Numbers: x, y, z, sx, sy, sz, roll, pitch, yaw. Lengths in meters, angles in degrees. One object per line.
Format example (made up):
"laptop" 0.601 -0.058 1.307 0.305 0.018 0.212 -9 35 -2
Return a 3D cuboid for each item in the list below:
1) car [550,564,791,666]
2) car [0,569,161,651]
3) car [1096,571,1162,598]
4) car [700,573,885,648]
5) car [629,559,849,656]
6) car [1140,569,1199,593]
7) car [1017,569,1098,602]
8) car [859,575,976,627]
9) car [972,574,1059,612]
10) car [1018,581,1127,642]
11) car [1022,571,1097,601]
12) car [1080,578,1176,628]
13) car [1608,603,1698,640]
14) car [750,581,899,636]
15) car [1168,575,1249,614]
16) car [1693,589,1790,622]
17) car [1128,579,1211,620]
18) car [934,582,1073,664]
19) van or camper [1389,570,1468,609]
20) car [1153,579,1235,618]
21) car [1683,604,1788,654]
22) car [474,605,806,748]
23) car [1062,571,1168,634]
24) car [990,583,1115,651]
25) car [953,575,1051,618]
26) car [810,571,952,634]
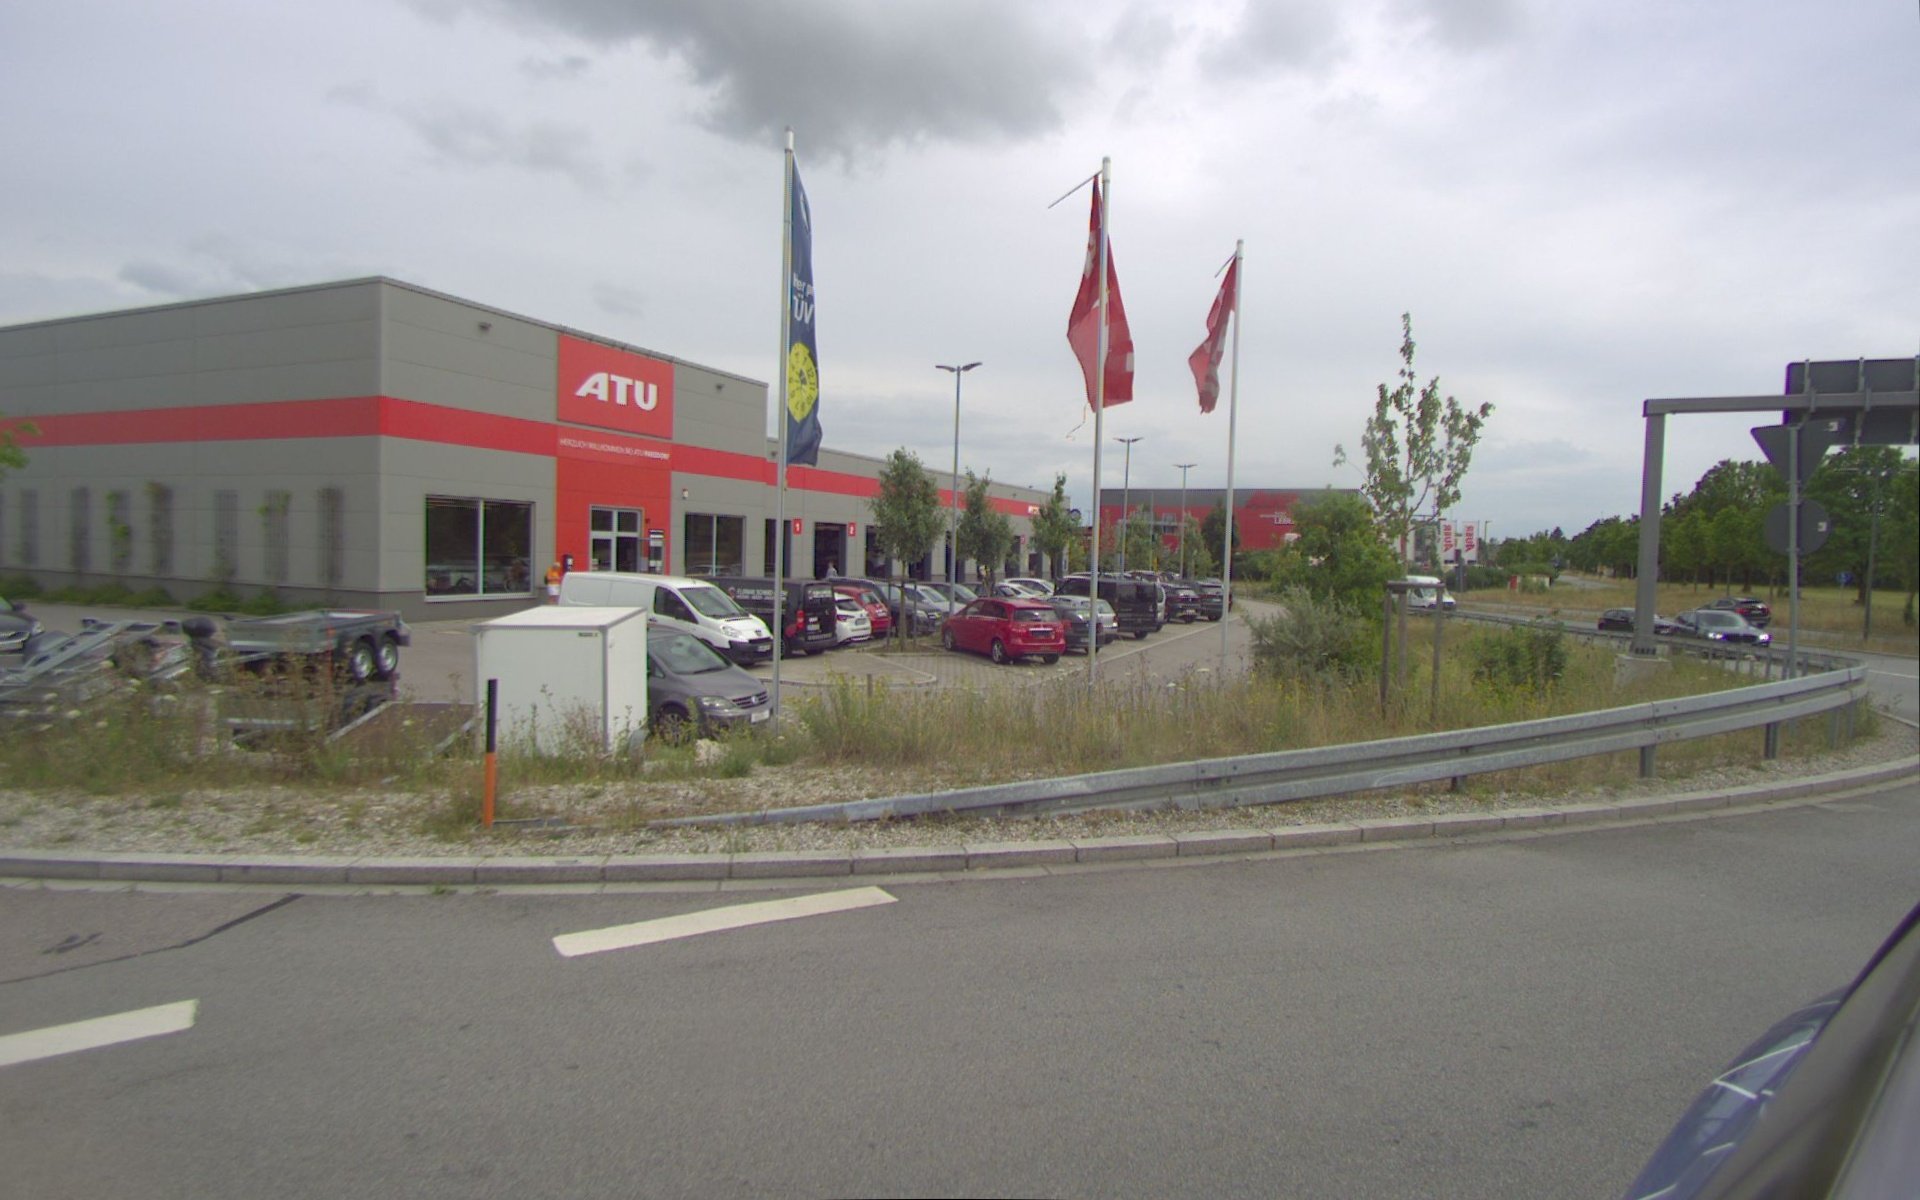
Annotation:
"car" -6.430 0.251 22.484 5.018 2.072 1.986 1 2 22
"car" -19.413 0.192 21.301 3.663 1.593 1.921 -2 2 -25
"car" 10.091 -0.963 60.447 3.655 1.564 1.580 0 1 22
"car" -4.550 0.222 27.510 4.621 1.661 1.902 4 3 22
"car" -5.447 0.104 24.947 5.020 1.996 1.986 3 3 22
"car" 13.998 -1.277 67.717 3.655 1.564 1.580 0 1 22
"car" 4.771 -0.719 49.452 3.655 1.564 1.580 0 2 22
"car" -1.436 0.009 34.105 3.655 1.658 1.580 0 1 22
"car" 2.520 -0.349 46.069 3.655 1.658 1.580 0 1 22
"car" 3.570 0.328 32.873 1.734 1.598 4.088 2 3 -22
"car" 5.245 -0.757 53.238 3.655 1.564 1.580 0 1 22
"car" 6.371 0.066 38.895 1.865 1.732 4.087 1 2 -19
"car" 32.036 0.965 46.909 1.829 1.429 3.932 1 2 8
"car" -4.024 0.221 30.013 4.152 1.518 1.580 0 2 22
"car" 12.743 -0.302 52.172 1.701 1.641 4.086 2 3 -28
"car" 41.557 0.267 53.940 1.857 1.484 4.281 -2 2 1
"car" 9.037 -0.052 43.911 1.615 1.642 4.086 2 1 -19
"car" 1.042 0.523 26.589 1.735 1.597 4.087 -1 6 -28
"van or camper" 30.931 -0.750 67.052 2.012 2.393 5.551 0 2 -7
"car" 10.594 -0.091 46.163 1.700 1.642 4.086 2 0 -19
"car" 27.194 0.956 35.650 1.841 1.429 4.522 1 3 24
"car" -4.958 1.063 15.680 4.779 1.696 1.952 2 2 22
"car" 5.296 0.048 35.200 1.865 1.931 4.088 2 2 -19
"car" 2.594 0.452 29.377 1.734 1.598 4.087 1 3 -25
"car" 1.678 -0.171 40.689 3.655 1.658 1.580 0 1 22
"car" -2.465 0.028 31.554 4.152 1.859 1.580 0 1 22
